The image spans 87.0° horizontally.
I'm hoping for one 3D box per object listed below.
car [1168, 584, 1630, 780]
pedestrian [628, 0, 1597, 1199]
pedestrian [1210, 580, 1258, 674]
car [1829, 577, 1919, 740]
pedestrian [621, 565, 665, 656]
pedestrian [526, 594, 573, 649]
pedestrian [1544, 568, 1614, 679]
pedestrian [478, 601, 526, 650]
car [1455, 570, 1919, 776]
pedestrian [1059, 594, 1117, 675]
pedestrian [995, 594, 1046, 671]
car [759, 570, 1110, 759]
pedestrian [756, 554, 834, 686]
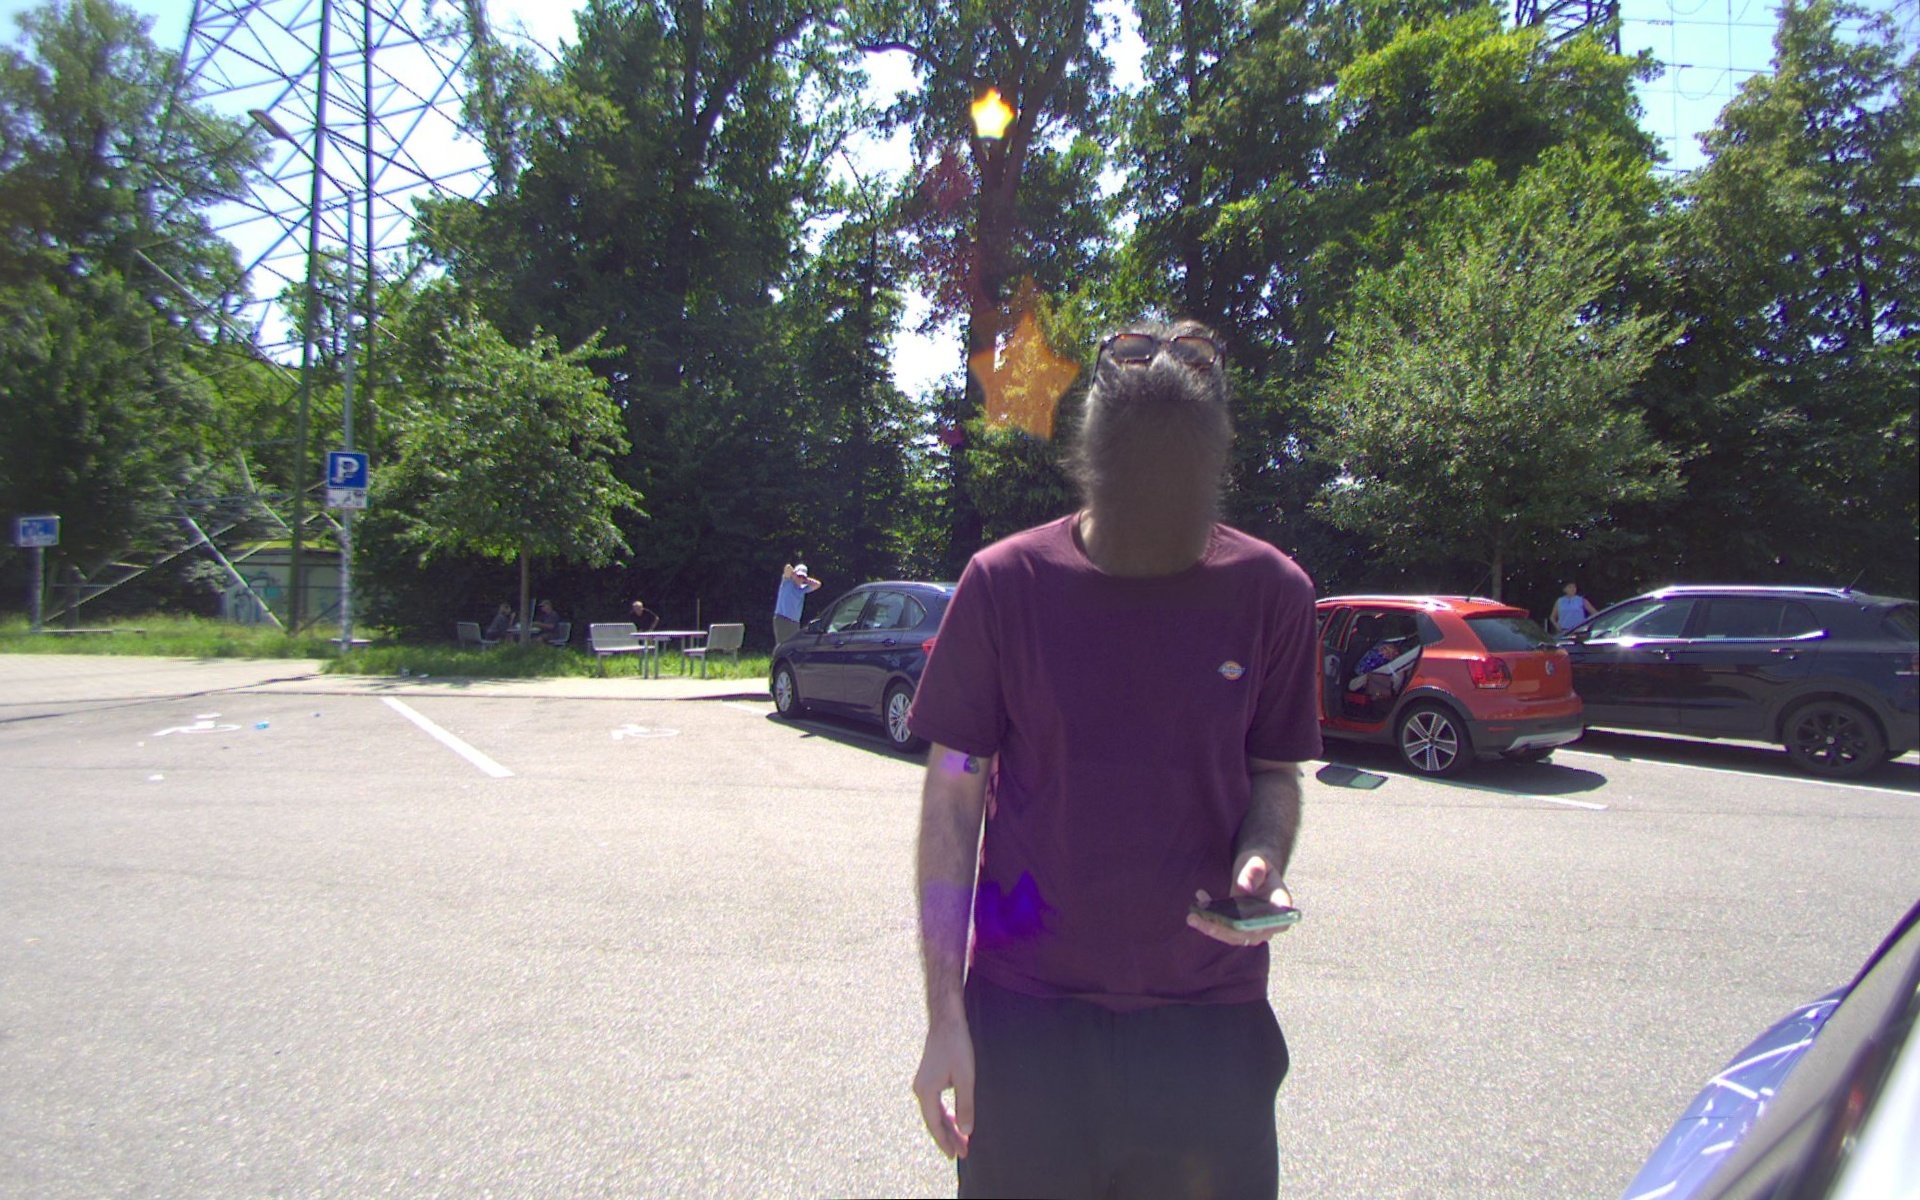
[{"bbox_3d":[3.945,0.615,9.652,1.746,1.475,3.710,1,0,-33],"label":"car"},{"bbox_3d":[0.211,0.415,1.279,0.828,1.797,0.926,0,-1,45],"label":"pedestrian"},{"bbox_3d":[4.870,0.467,18.044,0.798,1.614,0.772,0,-1,14],"label":"pedestrian"},{"bbox_3d":[10.921,0.593,9.430,1.745,1.612,3.972,1,0,-32],"label":"car"},{"bbox_3d":[-6.643,0.217,21.234,0.701,1.851,0.905,1,-1,-6],"label":"pedestrian"},{"bbox_3d":[-9.586,0.497,23.612,0.796,1.253,0.713,1,-1,-44],"label":"pedestrian"},{"bbox_3d":[9.343,0.348,15.274,0.795,1.614,0.714,1,-1,-42],"label":"pedestrian"},{"bbox_3d":[-10.337,0.564,22.836,0.796,1.062,0.714,1,-1,-43],"label":"pedestrian"},{"bbox_3d":[7.227,0.569,9.839,1.807,1.612,3.967,1,0,-38],"label":"car"},{"bbox_3d":[2.134,0.566,16.951,0.656,1.311,0.832,1,-1,-17],"label":"pedestrian"},{"bbox_3d":[1.029,0.551,17.291,0.656,1.285,0.655,1,-1,-17],"label":"pedestrian"},{"bbox_3d":[-0.465,0.538,10.701,1.809,1.588,4.017,1,0,-35],"label":"car"},{"bbox_3d":[-2.329,0.276,14.261,0.786,1.784,0.809,1,-1,-39],"label":"pedestrian"}]
